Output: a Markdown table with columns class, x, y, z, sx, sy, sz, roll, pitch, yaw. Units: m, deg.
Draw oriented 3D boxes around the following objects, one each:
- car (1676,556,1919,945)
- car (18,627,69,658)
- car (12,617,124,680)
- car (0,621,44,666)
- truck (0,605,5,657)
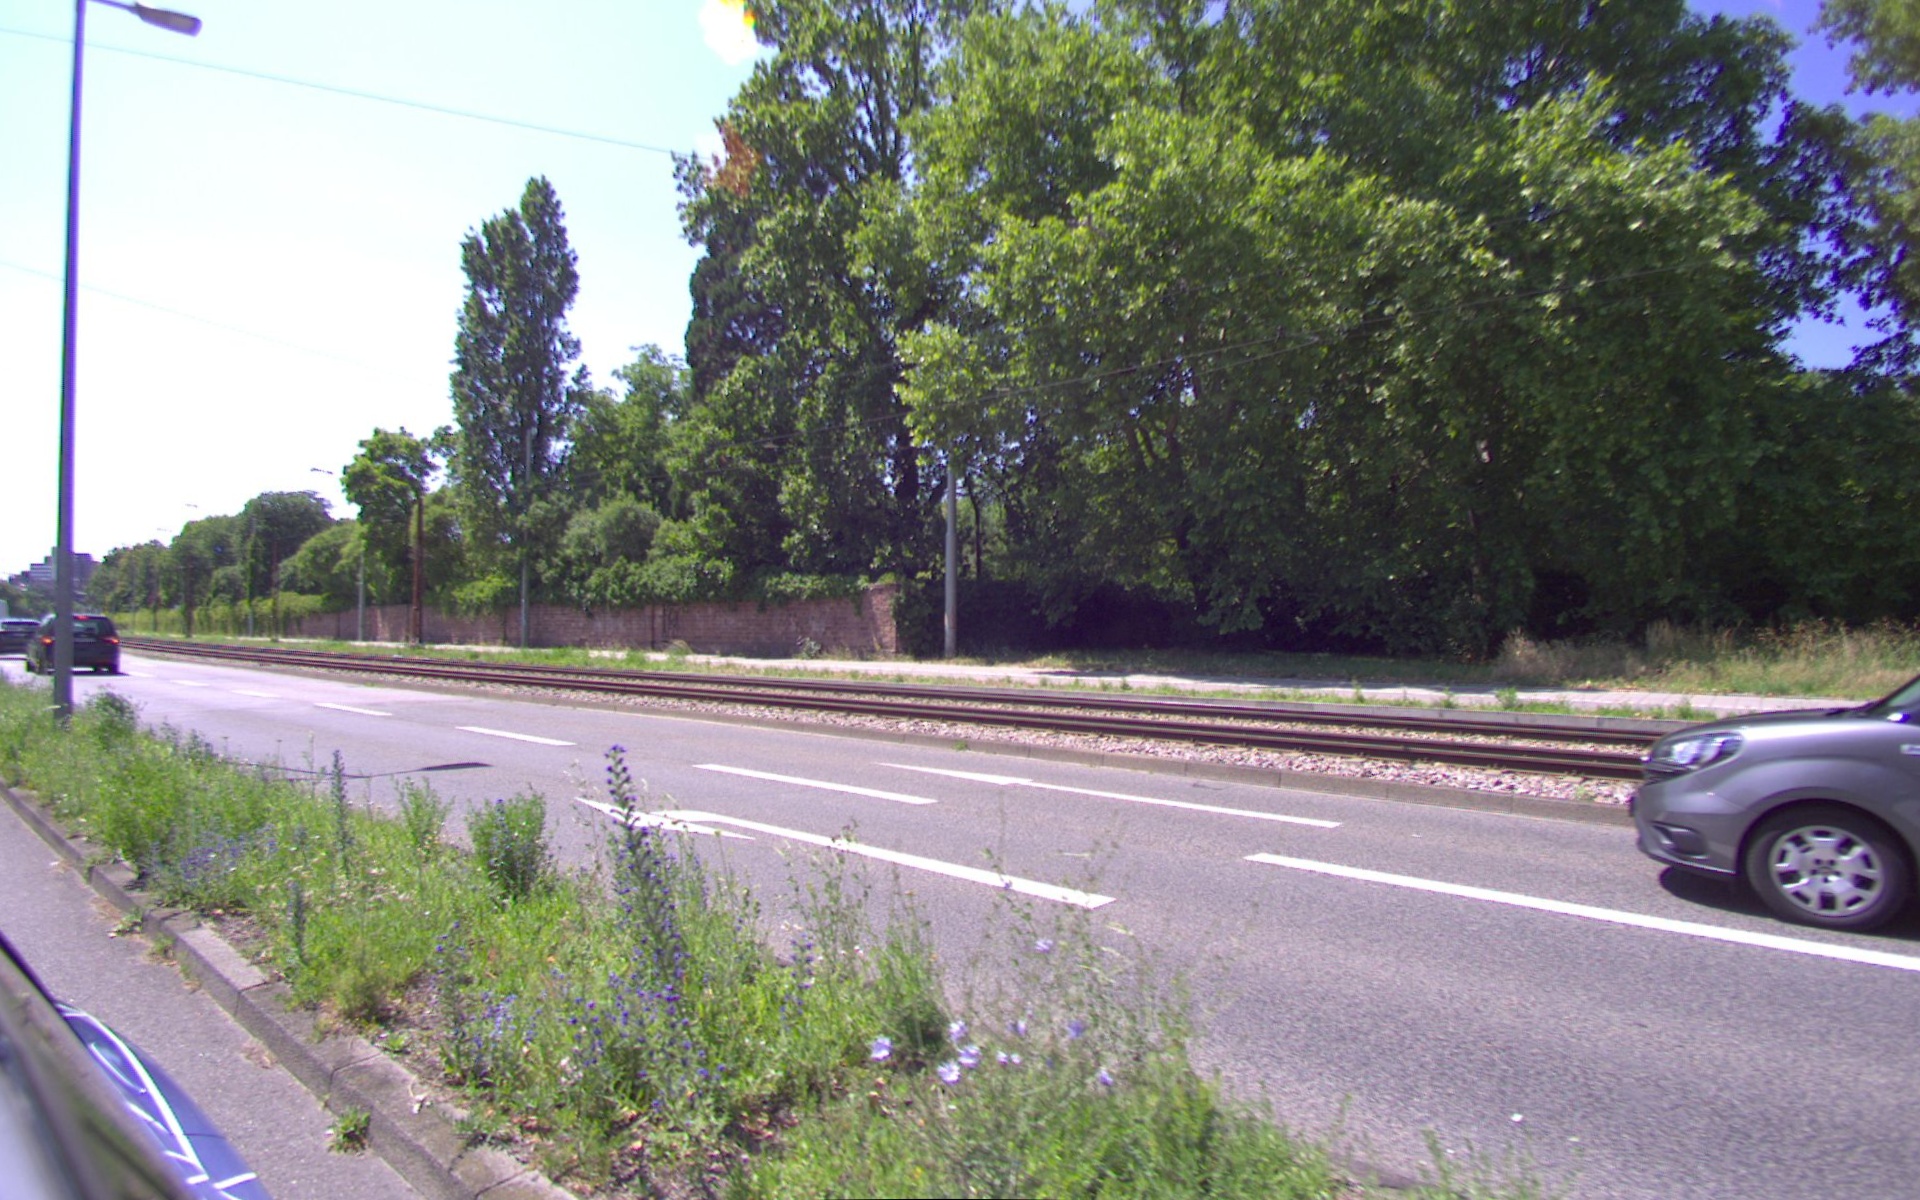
| class | x | y | z | sx | sy | sz | roll | pitch | yaw |
| --- | --- | --- | --- | --- | --- | --- | --- | --- | --- |
| car | 6.131 | 0.712 | 4.544 | 4.611 | 1.815 | 1.811 | -1 | -3 | 40 |
| car | -51.058 | 2.370 | 56.371 | 3.773 | 1.597 | 1.808 | -2 | -6 | 45 |
| car | -26.242 | 1.404 | 29.724 | 4.791 | 1.726 | 1.810 | -2 | -3 | 41 |
| car | -39.392 | 1.792 | 42.014 | 1.808 | 1.770 | 4.491 | 3 | -4 | -44 |
| truck | -53.803 | 1.669 | 55.182 | 5.546 | 2.769 | 2.059 | -2 | -3 | 43 |
